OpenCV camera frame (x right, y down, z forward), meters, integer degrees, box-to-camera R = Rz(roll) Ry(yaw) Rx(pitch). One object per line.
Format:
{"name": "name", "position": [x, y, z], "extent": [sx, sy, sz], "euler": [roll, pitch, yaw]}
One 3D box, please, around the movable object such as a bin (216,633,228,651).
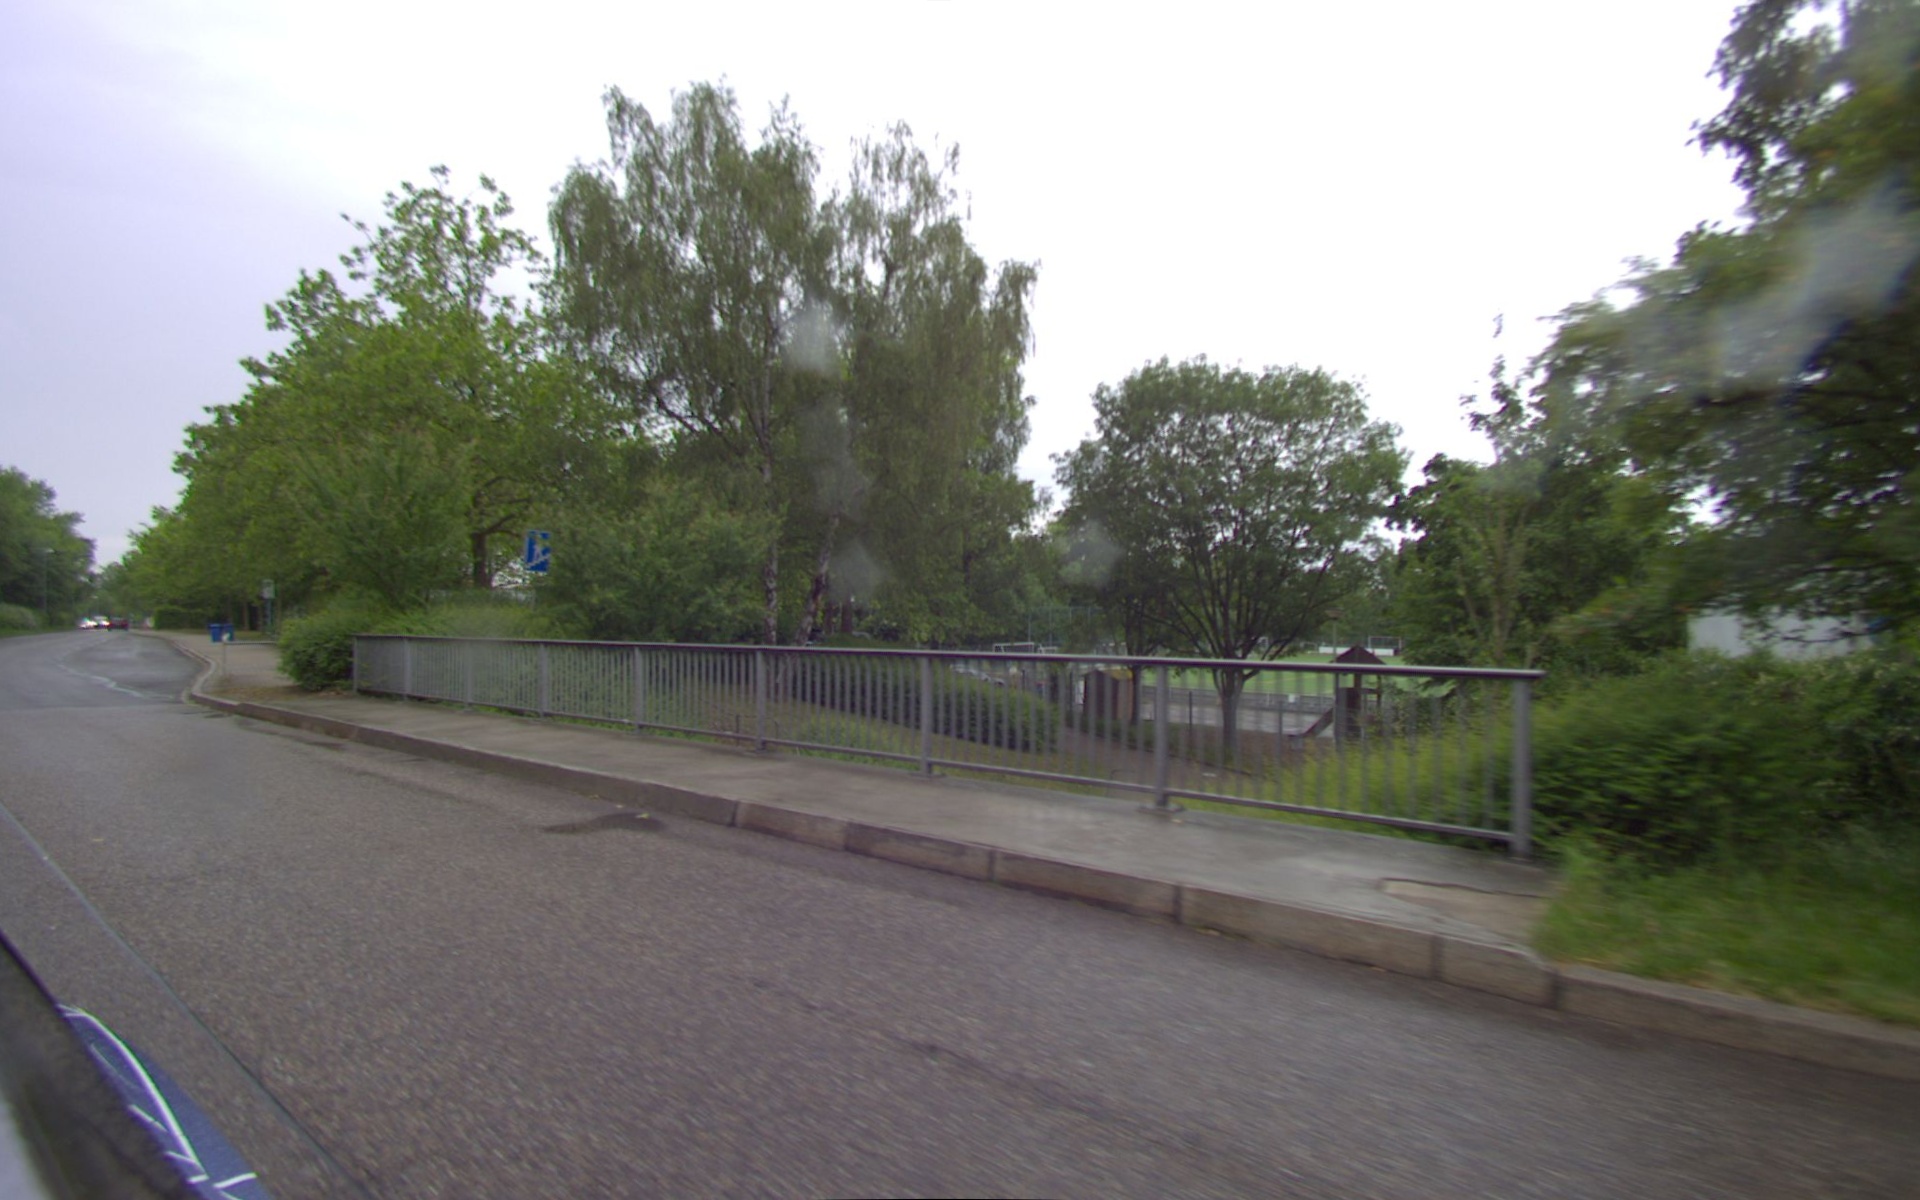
{"name": "movable object such as a bin", "position": [-45.195, 2.564, 62.012], "extent": [0.559, 1.107, 0.673], "euler": [-2, 1, -36]}

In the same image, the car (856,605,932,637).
{"name": "car", "position": [-4.440, 1.444, 67.954], "extent": [4.891, 2.029, 2.323], "euler": [-2, -1, 43]}

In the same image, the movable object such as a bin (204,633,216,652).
{"name": "movable object such as a bin", "position": [-45.535, 2.570, 61.477], "extent": [0.559, 1.107, 0.673], "euler": [-2, 1, -36]}
